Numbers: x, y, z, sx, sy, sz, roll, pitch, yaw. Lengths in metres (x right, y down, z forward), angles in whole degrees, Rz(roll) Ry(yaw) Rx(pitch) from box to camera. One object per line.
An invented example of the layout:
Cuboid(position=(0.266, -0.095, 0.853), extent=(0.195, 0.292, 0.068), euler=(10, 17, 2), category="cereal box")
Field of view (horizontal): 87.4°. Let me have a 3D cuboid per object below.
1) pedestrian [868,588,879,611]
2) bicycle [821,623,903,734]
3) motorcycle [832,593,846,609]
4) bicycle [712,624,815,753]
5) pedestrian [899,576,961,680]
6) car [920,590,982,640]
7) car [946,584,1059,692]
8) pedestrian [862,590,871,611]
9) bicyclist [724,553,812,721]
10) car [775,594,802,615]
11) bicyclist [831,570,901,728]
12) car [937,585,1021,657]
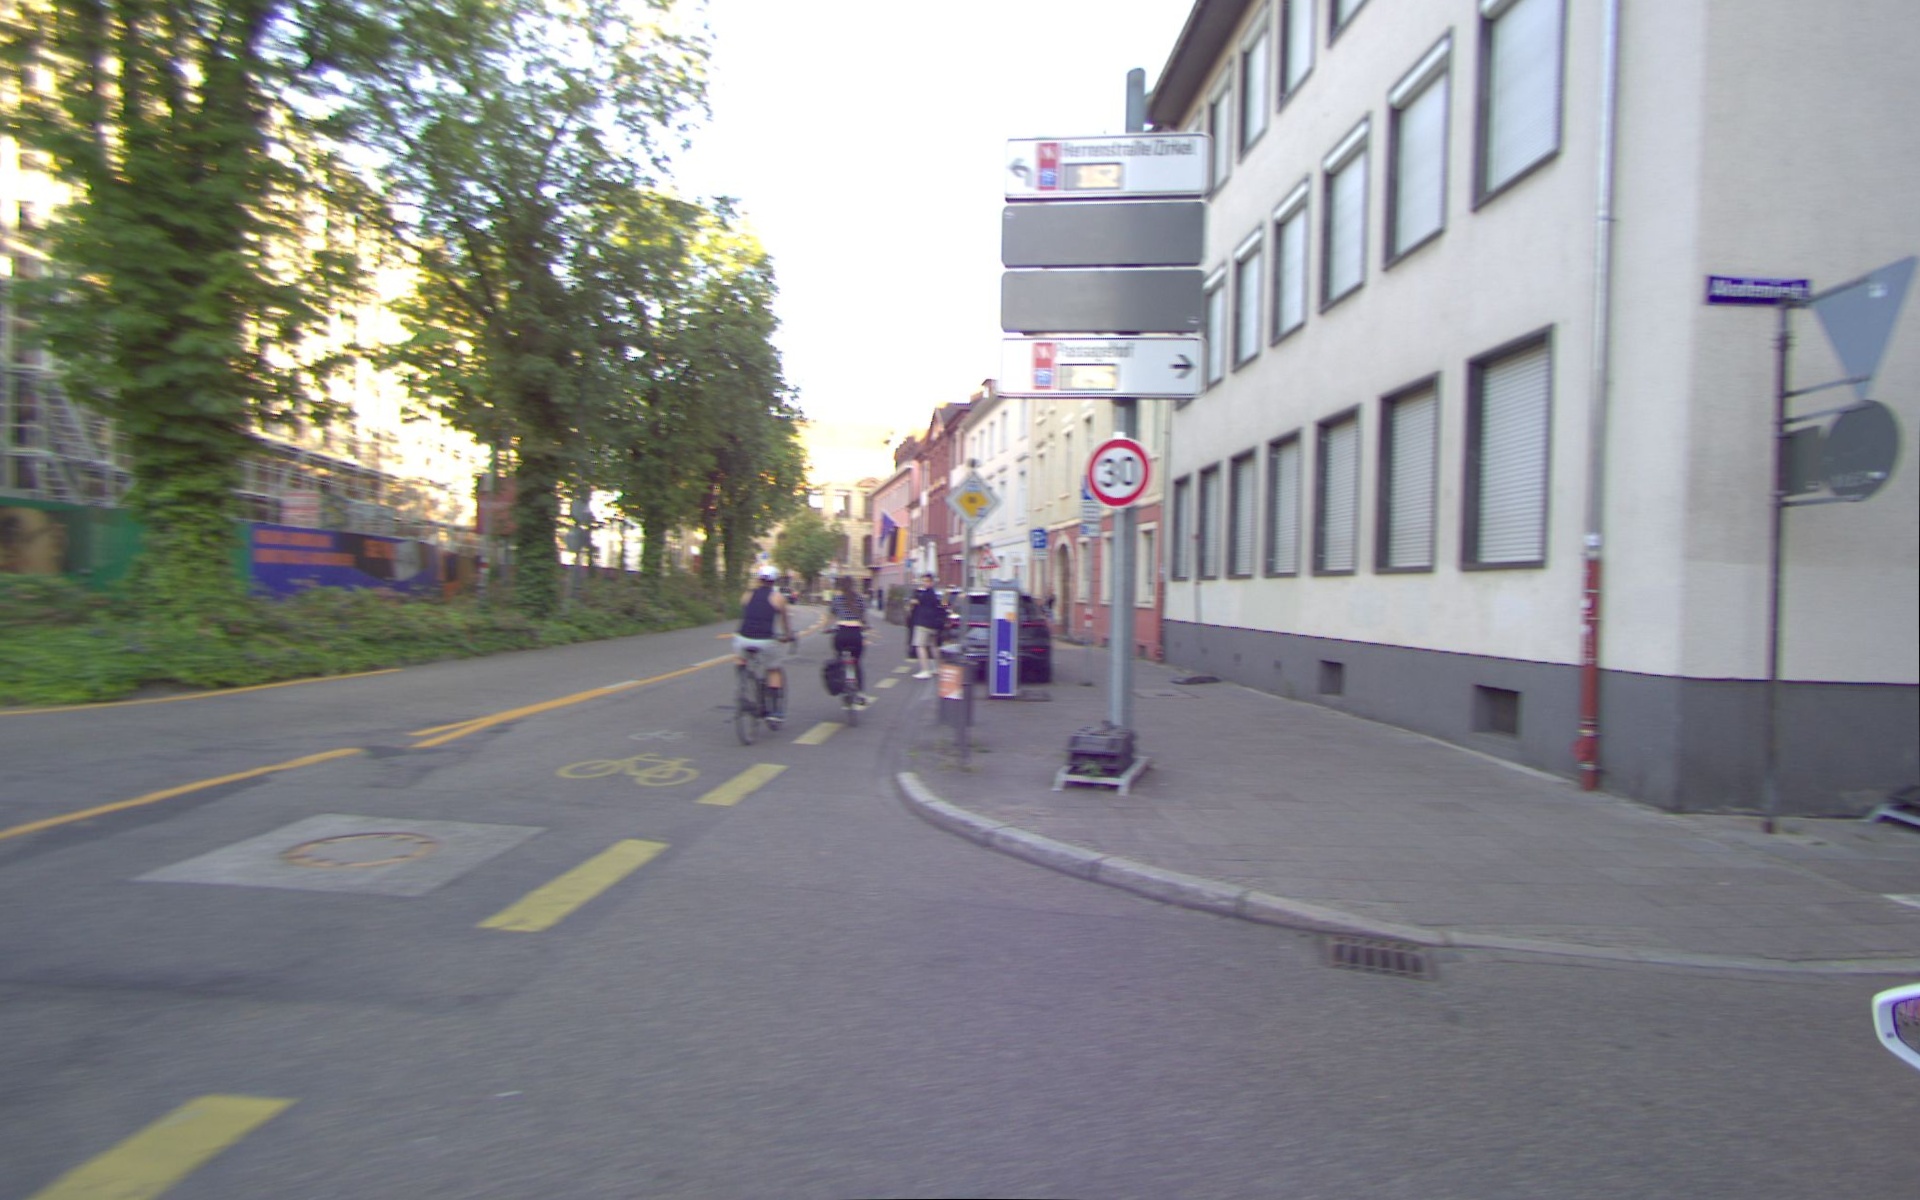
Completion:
Cuboid(position=(-6.734, -0.022, 78.380), extent=(0.739, 1.785, 0.584), euler=(2, 1, -8), category="pedestrian")
Cuboid(position=(-1.122, 0.873, 11.958), extent=(0.642, 1.085, 2.258), euler=(4, 1, 1), category="bicycle")
Cuboid(position=(-10.111, 0.068, 83.776), extent=(1.026, 1.265, 2.393), euler=(2, 1, -10), category="motorcycle")
Cuboid(position=(-1.930, 0.835, 10.116), extent=(0.659, 1.085, 1.901), euler=(3, 1, -1), category="bicycle")
Cuboid(position=(-0.571, 0.509, 18.707), extent=(0.889, 1.891, 0.928), euler=(2, 1, -17), category="pedestrian")
Cuboid(position=(-0.373, 0.482, 35.140), extent=(1.784, 1.581, 3.861), euler=(2, 0, -6), category="car")
Cuboid(position=(0.666, 0.602, 18.289), extent=(1.783, 1.705, 3.918), euler=(2, 0, -1), category="car")
Cuboid(position=(-7.203, 0.040, 77.581), extent=(0.657, 1.602, 0.584), euler=(2, 1, -8), category="pedestrian")
Cuboid(position=(-1.898, 0.355, 10.021), extent=(0.658, 1.586, 0.698), euler=(3, 1, -1), category="bicyclist")
Cuboid(position=(-14.317, 0.363, 83.830), extent=(1.788, 1.581, 3.851), euler=(2, 0, -16), category="car")
Cuboid(position=(-1.104, 0.554, 11.970), extent=(0.639, 1.783, 0.864), euler=(3, 1, 1), category="bicyclist")
Cuboid(position=(0.422, 0.491, 26.530), extent=(1.784, 1.706, 3.997), euler=(2, 0, -5), category="car")
